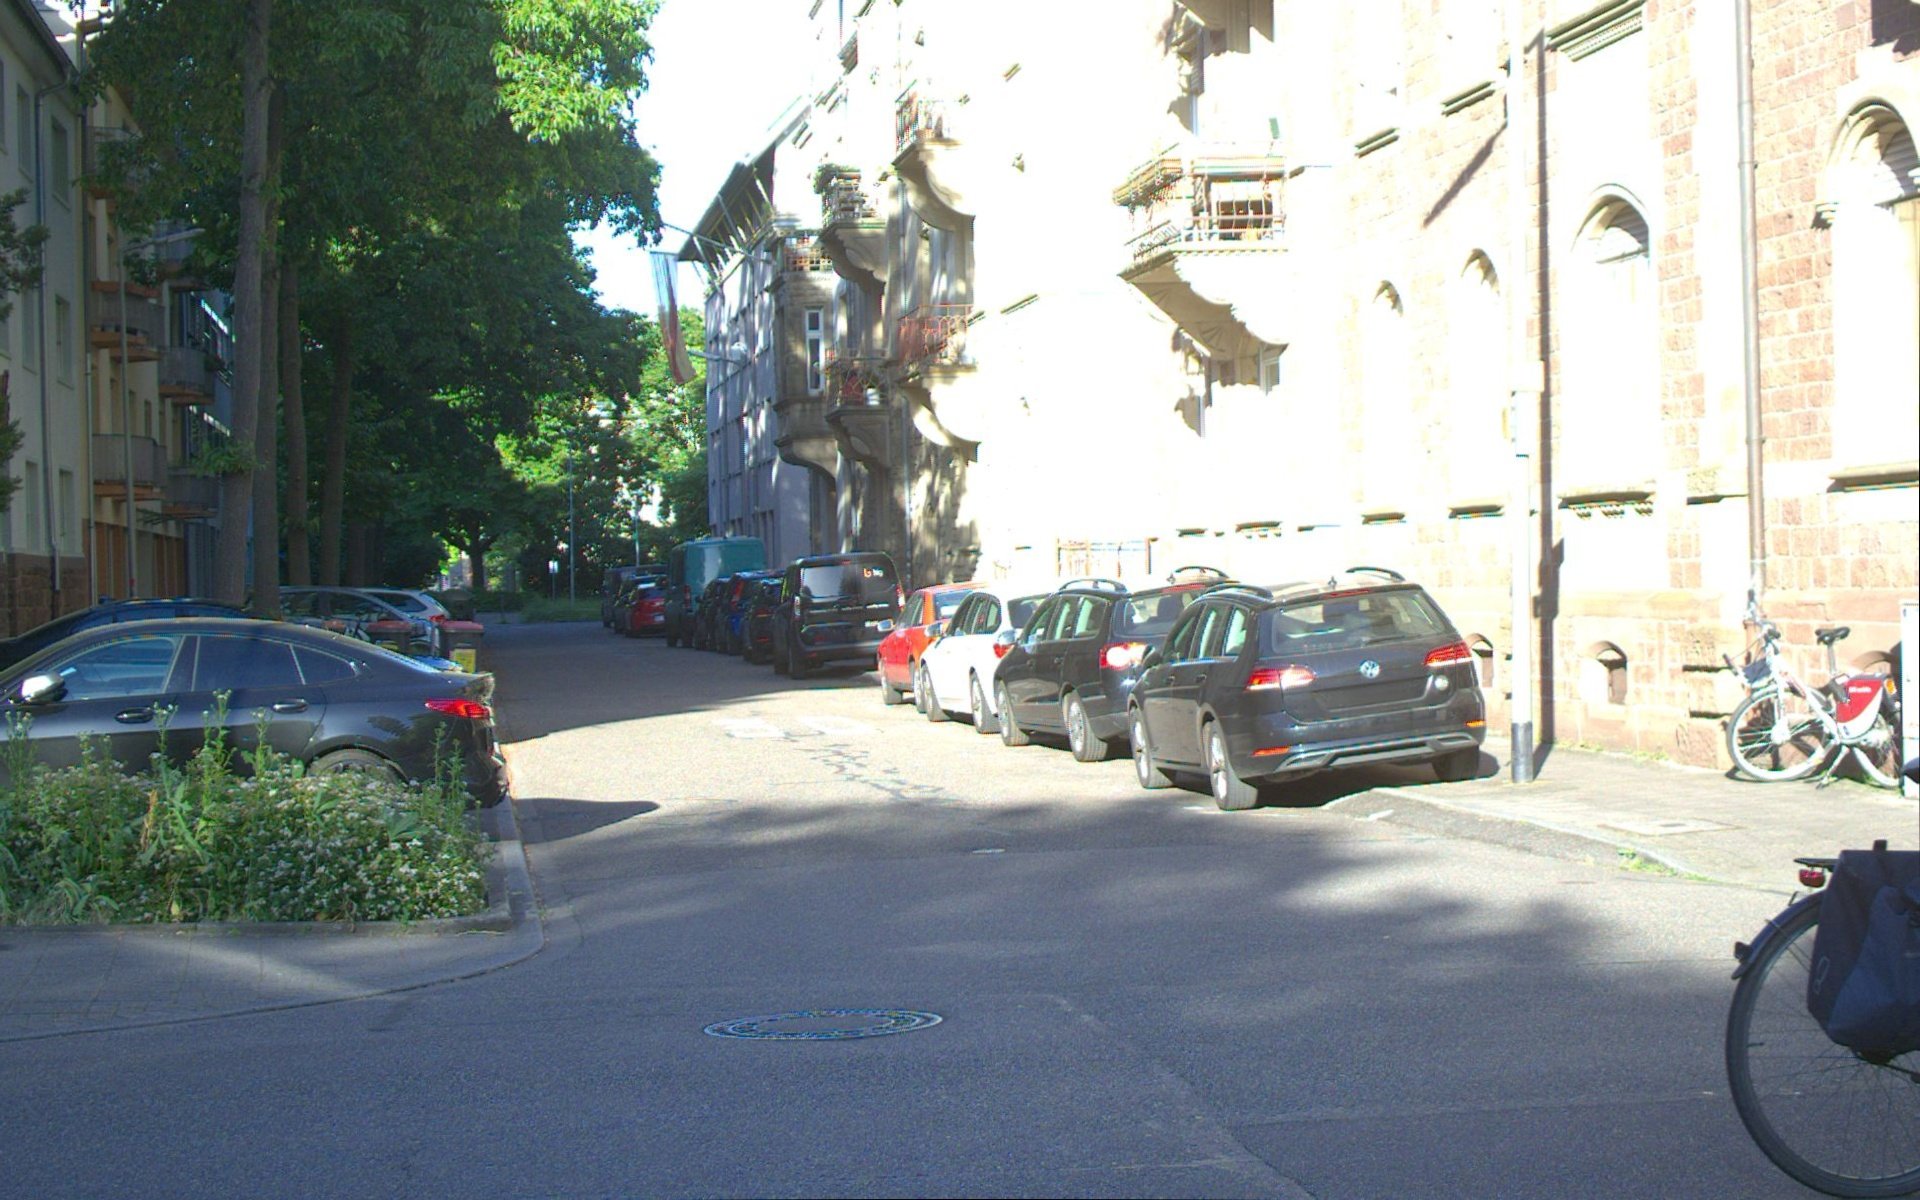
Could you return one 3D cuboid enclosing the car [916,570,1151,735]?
[{"bbox_3d":[0.687,0.489,34.903,1.737,1.576,4.001,0,0,-8],"label":"car"}]

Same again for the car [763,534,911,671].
[{"bbox_3d":[-1.898,0.022,52.073,1.802,1.997,4.001,0,0,-8],"label":"car"}]

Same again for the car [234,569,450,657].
[{"bbox_3d":[-11.226,0.228,62.493,3.800,1.570,1.710,0,0,-10],"label":"car"}]

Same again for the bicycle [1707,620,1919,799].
[{"bbox_3d":[5.048,0.623,20.210,0.514,0.994,1.576,0,0,-20],"label":"bicycle"}]

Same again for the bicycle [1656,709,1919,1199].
[{"bbox_3d":[2.586,0.784,7.575,1.961,1.069,0.698,0,0,-16],"label":"bicycle"}]

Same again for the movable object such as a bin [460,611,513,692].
[{"bbox_3d":[-6.208,0.671,45.055,0.629,1.049,0.568,0,0,-14],"label":"movable object such as a bin"}]

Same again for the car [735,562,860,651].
[{"bbox_3d":[-2.883,0.098,60.279,1.802,1.509,4.001,0,0,-8],"label":"car"}]

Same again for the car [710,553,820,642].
[{"bbox_3d":[-3.834,-0.062,67.081,1.802,1.673,4.001,0,0,-8],"label":"car"}]

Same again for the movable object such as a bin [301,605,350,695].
[{"bbox_3d":[-8.237,0.646,44.634,0.598,1.149,0.487,0,0,-14],"label":"movable object such as a bin"}]

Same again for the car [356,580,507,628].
[{"bbox_3d":[-13.644,0.093,88.708,3.800,1.236,1.710,0,0,-10],"label":"car"}]

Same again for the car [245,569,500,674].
[{"bbox_3d":[-9.038,0.314,52.802,3.800,1.570,1.710,0,0,-12],"label":"car"}]

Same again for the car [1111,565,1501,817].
[{"bbox_3d":[2.275,0.557,23.646,1.737,1.576,4.001,0,0,-8],"label":"car"}]

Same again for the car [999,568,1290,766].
[{"bbox_3d":[1.513,0.524,29.614,1.737,1.576,4.001,0,0,-8],"label":"car"}]

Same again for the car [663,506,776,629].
[{"bbox_3d":[-5.442,-0.718,77.164,2.165,2.681,4.792,0,0,-8],"label":"car"}]

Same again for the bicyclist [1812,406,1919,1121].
[{"bbox_3d":[2.482,0.346,7.545,0.968,1.521,0.708,0,0,-14],"label":"bicyclist"}]

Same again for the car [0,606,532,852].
[{"bbox_3d":[-4.856,0.765,21.432,4.242,1.430,2.001,0,0,-10],"label":"car"}]

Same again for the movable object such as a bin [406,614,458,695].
[{"bbox_3d":[-6.902,0.711,44.928,0.629,1.049,0.568,0,0,-14],"label":"movable object such as a bin"}]

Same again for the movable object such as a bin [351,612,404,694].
[{"bbox_3d":[-7.583,0.687,44.733,0.629,1.049,0.568,0,0,-14],"label":"movable object such as a bin"}]

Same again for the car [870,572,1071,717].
[{"bbox_3d":[0.069,0.470,39.557,1.737,1.576,4.001,0,0,-8],"label":"car"}]

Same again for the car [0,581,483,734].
[{"bbox_3d":[-7.122,0.535,33.555,4.833,1.430,1.710,0,0,-10],"label":"car"}]

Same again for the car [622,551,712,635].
[{"bbox_3d":[-8.049,-0.194,94.044,2.165,2.229,4.792,0,0,-8],"label":"car"}]
